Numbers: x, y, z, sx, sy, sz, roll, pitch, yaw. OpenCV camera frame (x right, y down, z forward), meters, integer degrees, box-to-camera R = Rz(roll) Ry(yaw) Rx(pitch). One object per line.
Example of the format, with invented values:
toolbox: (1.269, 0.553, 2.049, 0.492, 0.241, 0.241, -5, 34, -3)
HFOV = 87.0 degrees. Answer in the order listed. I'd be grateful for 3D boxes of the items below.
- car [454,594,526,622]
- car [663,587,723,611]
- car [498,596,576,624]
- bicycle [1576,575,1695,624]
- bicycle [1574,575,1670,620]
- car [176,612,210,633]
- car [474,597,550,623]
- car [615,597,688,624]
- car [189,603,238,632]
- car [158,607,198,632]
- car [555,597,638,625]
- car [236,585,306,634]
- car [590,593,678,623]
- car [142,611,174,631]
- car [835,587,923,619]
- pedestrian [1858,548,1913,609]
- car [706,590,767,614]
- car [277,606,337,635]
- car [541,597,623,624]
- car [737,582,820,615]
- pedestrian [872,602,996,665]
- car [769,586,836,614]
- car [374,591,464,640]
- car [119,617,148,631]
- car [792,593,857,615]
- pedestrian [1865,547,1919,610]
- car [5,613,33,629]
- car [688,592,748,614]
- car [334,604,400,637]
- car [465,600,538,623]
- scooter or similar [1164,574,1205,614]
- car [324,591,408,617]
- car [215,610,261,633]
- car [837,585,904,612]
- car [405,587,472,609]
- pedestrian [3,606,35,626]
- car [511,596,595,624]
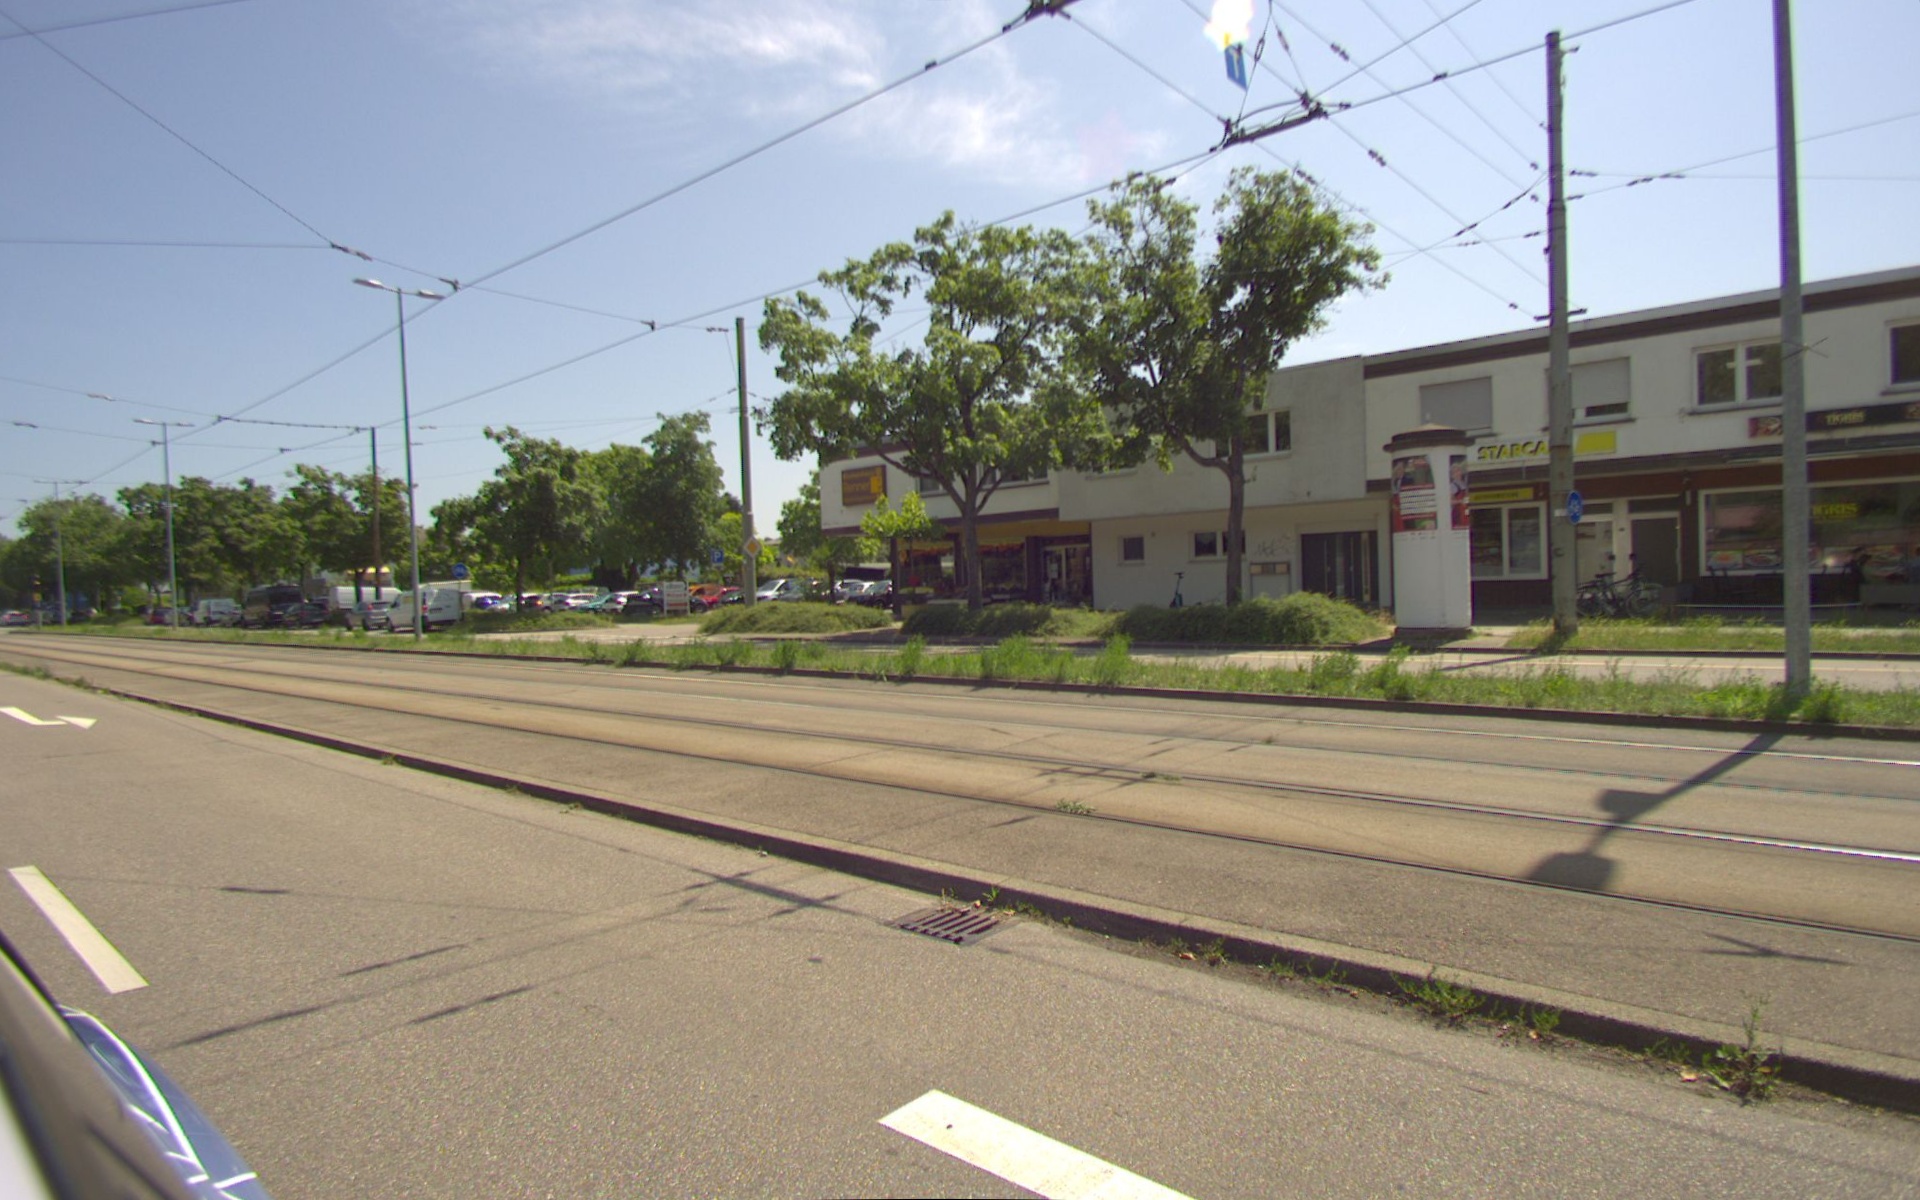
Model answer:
car: (-31.233, 0.534, 67.297, 1.794, 1.730, 3.951, -1, 1, 37)
car: (-19.142, -0.070, 72.713, 1.689, 1.665, 4.082, -1, 0, 35)
car: (-25.713, 0.588, 61.569, 1.827, 1.501, 4.030, -1, 1, 34)
bicycle: (14.230, -0.004, 21.369, 2.028, 0.986, 0.604, 0, 0, 41)
bicycle: (14.813, -0.050, 22.670, 1.758, 0.986, 0.533, 0, 0, 41)
car: (-56.687, 1.617, 74.778, 3.261, 1.489, 1.411, 0, 0, 41)
car: (-27.825, 0.611, 62.929, 1.862, 1.499, 3.955, -1, 1, 34)
car: (-16.095, 0.540, 52.892, 1.639, 1.241, 3.385, -1, 1, 34)
car: (-52.512, 1.201, 71.151, 4.816, 1.963, 1.899, 0, 0, 42)
car: (-60.199, 1.474, 77.900, 4.495, 1.907, 1.614, 0, 0, 41)
car: (-20.159, 0.595, 56.215, 1.908, 1.501, 3.995, 0, 0, 34)
car: (-42.172, 0.574, 61.873, 5.666, 2.859, 2.214, 0, 0, 42)
car: (-17.665, 0.423, 55.020, 1.983, 1.501, 4.120, -1, 1, 39)
car: (-65.158, 1.697, 82.179, 3.423, 1.491, 1.561, 0, 0, 43)
car: (-3.717, 0.135, 46.865, 1.682, 1.306, 3.944, -2, 0, 42)
pedestrian: (19.675, -0.447, 21.526, 0.842, 1.278, 0.583, 0, 0, 41)
car: (-15.311, 0.129, 69.542, 1.683, 1.597, 3.948, 0, 0, 39)
car: (-37.299, 1.141, 57.768, 3.751, 1.589, 1.950, 0, 0, 42)
car: (-21.689, 0.571, 58.212, 1.855, 1.501, 4.099, 0, 0, 34)
car: (-11.779, -0.128, 65.913, 2.225, 2.085, 5.055, 0, 0, 41)
pedestrian: (-0.921, 1.099, 34.847, 3.997, 2.029, 1.973, 0, 0, 40)
car: (-9.999, -0.012, 64.264, 1.804, 1.669, 3.943, 0, 0, 43)
car: (-25.225, 0.684, 47.085, 5.342, 2.026, 1.856, -1, 4, 42)
car: (-73.896, 2.154, 90.451, 3.423, 1.167, 1.561, 0, 0, 43)
car: (-8.276, 0.240, 62.110, 1.764, 1.294, 3.675, 0, 0, 43)
pedestrian: (19.258, -0.436, 20.885, 0.842, 1.278, 0.583, 0, 0, 41)
car: (-97.102, 2.131, 104.414, 4.569, 1.622, 1.705, 0, 0, 42)
car: (-17.096, 0.230, 71.595, 1.712, 1.505, 3.953, 0, 0, 35)
car: (-30.118, 1.018, 51.335, 4.124, 1.513, 1.633, -1, 4, 42)
car: (-29.504, 0.730, 65.221, 1.794, 1.417, 3.950, -1, 0, 37)
scooter or similar: (6.949, -0.178, 31.425, 0.448, 1.200, 1.349, 0, 0, -29)
car: (-46.329, 0.275, 79.030, 2.029, 1.970, 5.363, 0, 0, 42)
car: (-48.061, 1.400, 67.352, 3.608, 1.475, 1.744, 0, 0, 42)
car: (-5.377, -0.106, 61.127, 1.661, 1.531, 3.943, 0, 0, 43)
car: (-52.865, -0.217, 102.597, 2.145, 2.078, 5.674, 0, 0, 38)
pedestrian: (-95.802, 1.626, 103.035, 3.997, 2.029, 1.973, 0, 0, 41)
car: (-23.841, 0.572, 59.398, 2.018, 1.501, 4.117, -1, 1, 34)
